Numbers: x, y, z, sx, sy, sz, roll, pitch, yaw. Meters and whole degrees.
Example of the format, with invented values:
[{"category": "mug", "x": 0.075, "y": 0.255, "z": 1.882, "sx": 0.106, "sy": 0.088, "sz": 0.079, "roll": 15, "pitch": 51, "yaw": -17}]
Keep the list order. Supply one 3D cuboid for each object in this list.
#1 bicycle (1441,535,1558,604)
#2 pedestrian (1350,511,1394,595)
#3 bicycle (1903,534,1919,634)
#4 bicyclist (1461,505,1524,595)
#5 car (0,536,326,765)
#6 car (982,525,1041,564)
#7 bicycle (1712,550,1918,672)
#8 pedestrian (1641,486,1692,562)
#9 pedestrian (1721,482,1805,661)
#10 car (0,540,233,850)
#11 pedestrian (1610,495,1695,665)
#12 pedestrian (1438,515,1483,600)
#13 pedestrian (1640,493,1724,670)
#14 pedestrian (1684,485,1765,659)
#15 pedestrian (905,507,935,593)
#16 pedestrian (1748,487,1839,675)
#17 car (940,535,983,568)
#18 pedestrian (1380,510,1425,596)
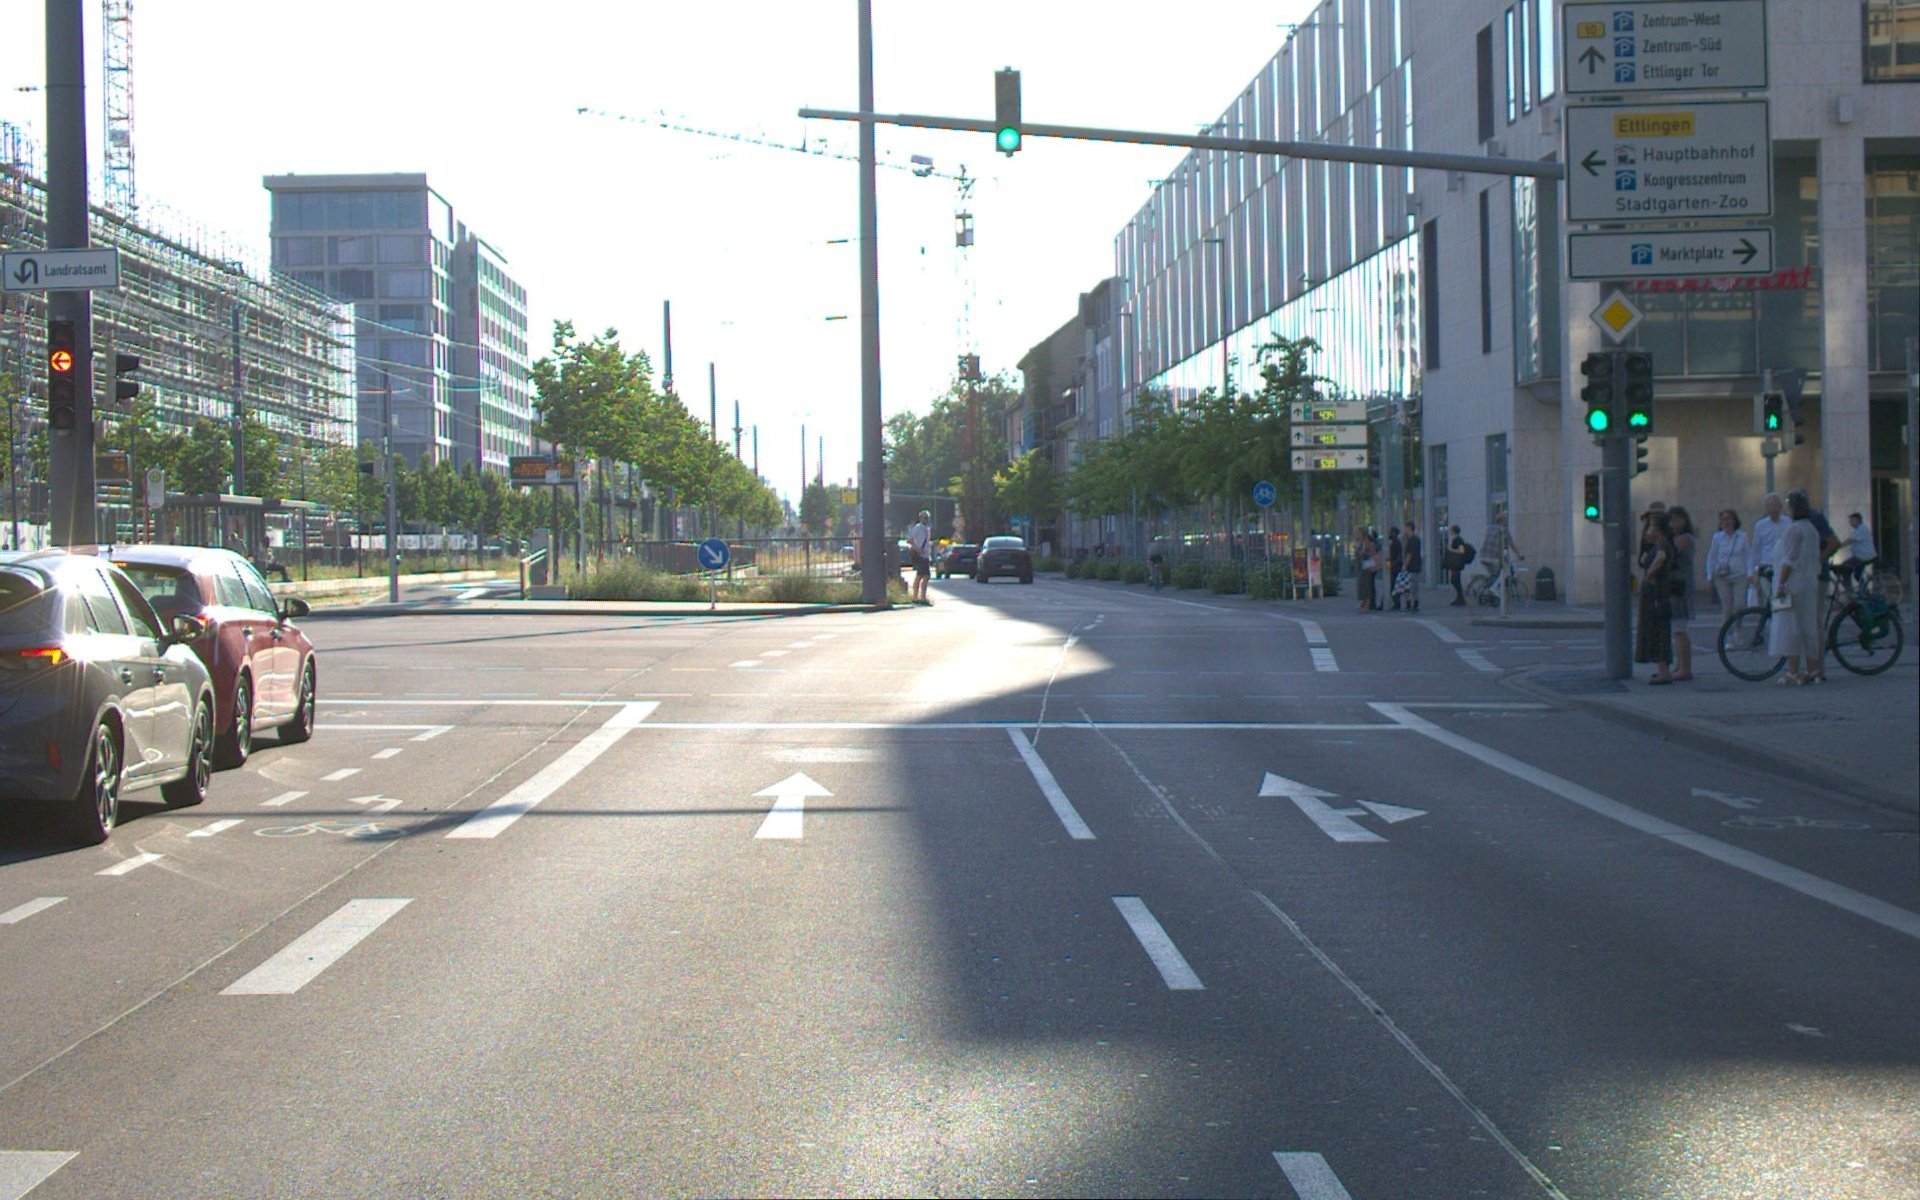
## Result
[{"category": "bicycle", "x": 9.748, "y": -0.560, "z": 62.046, "sx": 2.257, "sy": 1.200, "sz": 0.802, "roll": -2, "pitch": 2, "yaw": -41}, {"category": "pedestrian", "x": 8.546, "y": -0.977, "z": 71.300, "sx": 0.817, "sy": 1.728, "sz": 0.790, "roll": -1, "pitch": 1, "yaw": 2}, {"category": "bicycle", "x": 12.138, "y": -0.189, "z": 42.025, "sx": 0.592, "sy": 1.227, "sz": 2.154, "roll": -1, "pitch": 1, "yaw": -1}, {"category": "bicyclist", "x": 9.592, "y": -0.906, "z": 61.915, "sx": 0.783, "sy": 1.596, "sz": 0.802, "roll": -2, "pitch": 2, "yaw": -38}, {"category": "car", "x": -5.504, "y": 0.280, "z": 23.649, "sx": 1.703, "sy": 1.423, "sz": 3.926, "roll": 0, "pitch": 1, "yaw": -2}, {"category": "car", "x": 1.933, "y": -2.127, "z": 130.692, "sx": 1.940, "sy": 1.423, "sz": 3.926, "roll": -1, "pitch": 1, "yaw": -3}, {"category": "bicycle", "x": 8.131, "y": 0.101, "z": 32.735, "sx": 1.803, "sy": 1.082, "sz": 0.479, "roll": -2, "pitch": 1, "yaw": 0}, {"category": "pedestrian", "x": 15.063, "y": -1.625, "z": 73.343, "sx": 0.870, "sy": 1.580, "sz": 0.824, "roll": -3, "pitch": 1, "yaw": 2}, {"category": "pedestrian", "x": 9.435, "y": -0.340, "z": 40.420, "sx": 0.766, "sy": 2.053, "sz": 0.797, "roll": -3, "pitch": 1, "yaw": 5}, {"category": "car", "x": -5.025, "y": 0.411, "z": 18.045, "sx": 1.776, "sy": 1.423, "sz": 4.001, "roll": 0, "pitch": 1, "yaw": -3}, {"category": "pedestrian", "x": 6.684, "y": -0.196, "z": 33.198, "sx": 0.634, "sy": 1.602, "sz": 0.570, "roll": -3, "pitch": 1, "yaw": -1}, {"category": "pedestrian", "x": 10.347, "y": -0.876, "z": 71.099, "sx": 0.817, "sy": 1.728, "sz": 0.790, "roll": -1, "pitch": 1, "yaw": 2}, {"category": "pedestrian", "x": 7.081, "y": -0.190, "z": 33.739, "sx": 0.634, "sy": 1.697, "sz": 0.570, "roll": -3, "pitch": 1, "yaw": -1}, {"category": "pedestrian", "x": 9.209, "y": -0.343, "z": 41.432, "sx": 0.766, "sy": 2.053, "sz": 0.797, "roll": -3, "pitch": 1, "yaw": 5}, {"category": "pedestrian", "x": -0.816, "y": -1.015, "z": 70.061, "sx": 0.492, "sy": 1.737, "sz": 0.447, "roll": -1, "pitch": 1, "yaw": -11}, {"category": "pedestrian", "x": 7.684, "y": -0.181, "z": 31.708, "sx": 0.634, "sy": 1.697, "sz": 0.570, "roll": -3, "pitch": 1, "yaw": -1}, {"category": "car", "x": 0.058, "y": -2.221, "z": 155.803, "sx": 1.703, "sy": 1.423, "sz": 3.926, "roll": -1, "pitch": 1, "yaw": -3}, {"category": "pedestrian", "x": 9.027, "y": -0.970, "z": 70.088, "sx": 0.817, "sy": 1.728, "sz": 0.790, "roll": -1, "pitch": 1, "yaw": 2}]
